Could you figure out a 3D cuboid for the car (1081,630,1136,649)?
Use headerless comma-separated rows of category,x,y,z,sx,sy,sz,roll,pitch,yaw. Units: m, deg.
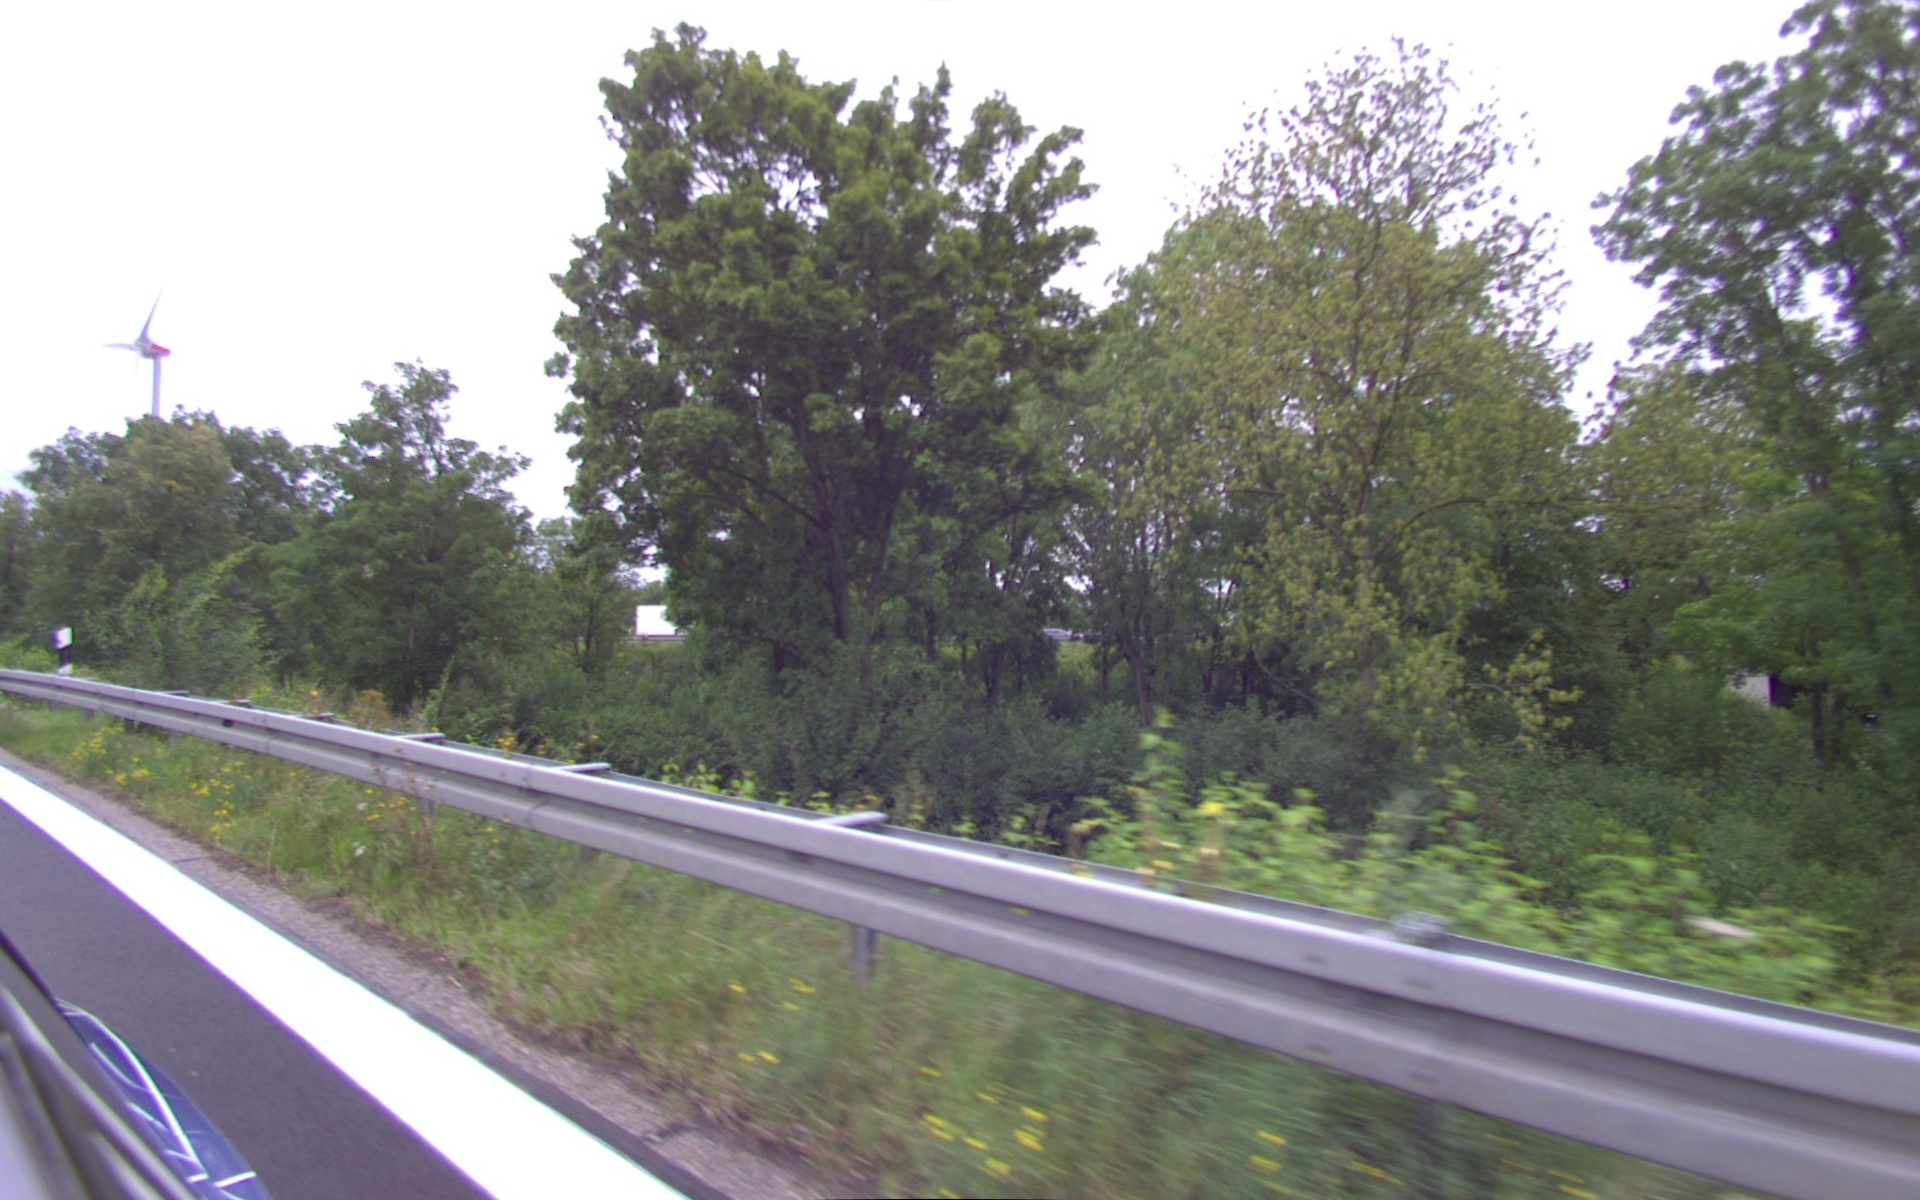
car,12.714,3.377,86.616,4.495,1.650,1.965,0,-2,4

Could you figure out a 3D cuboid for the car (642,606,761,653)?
car,-26.553,3.016,104.251,11.578,4.768,3.116,0,-2,3
